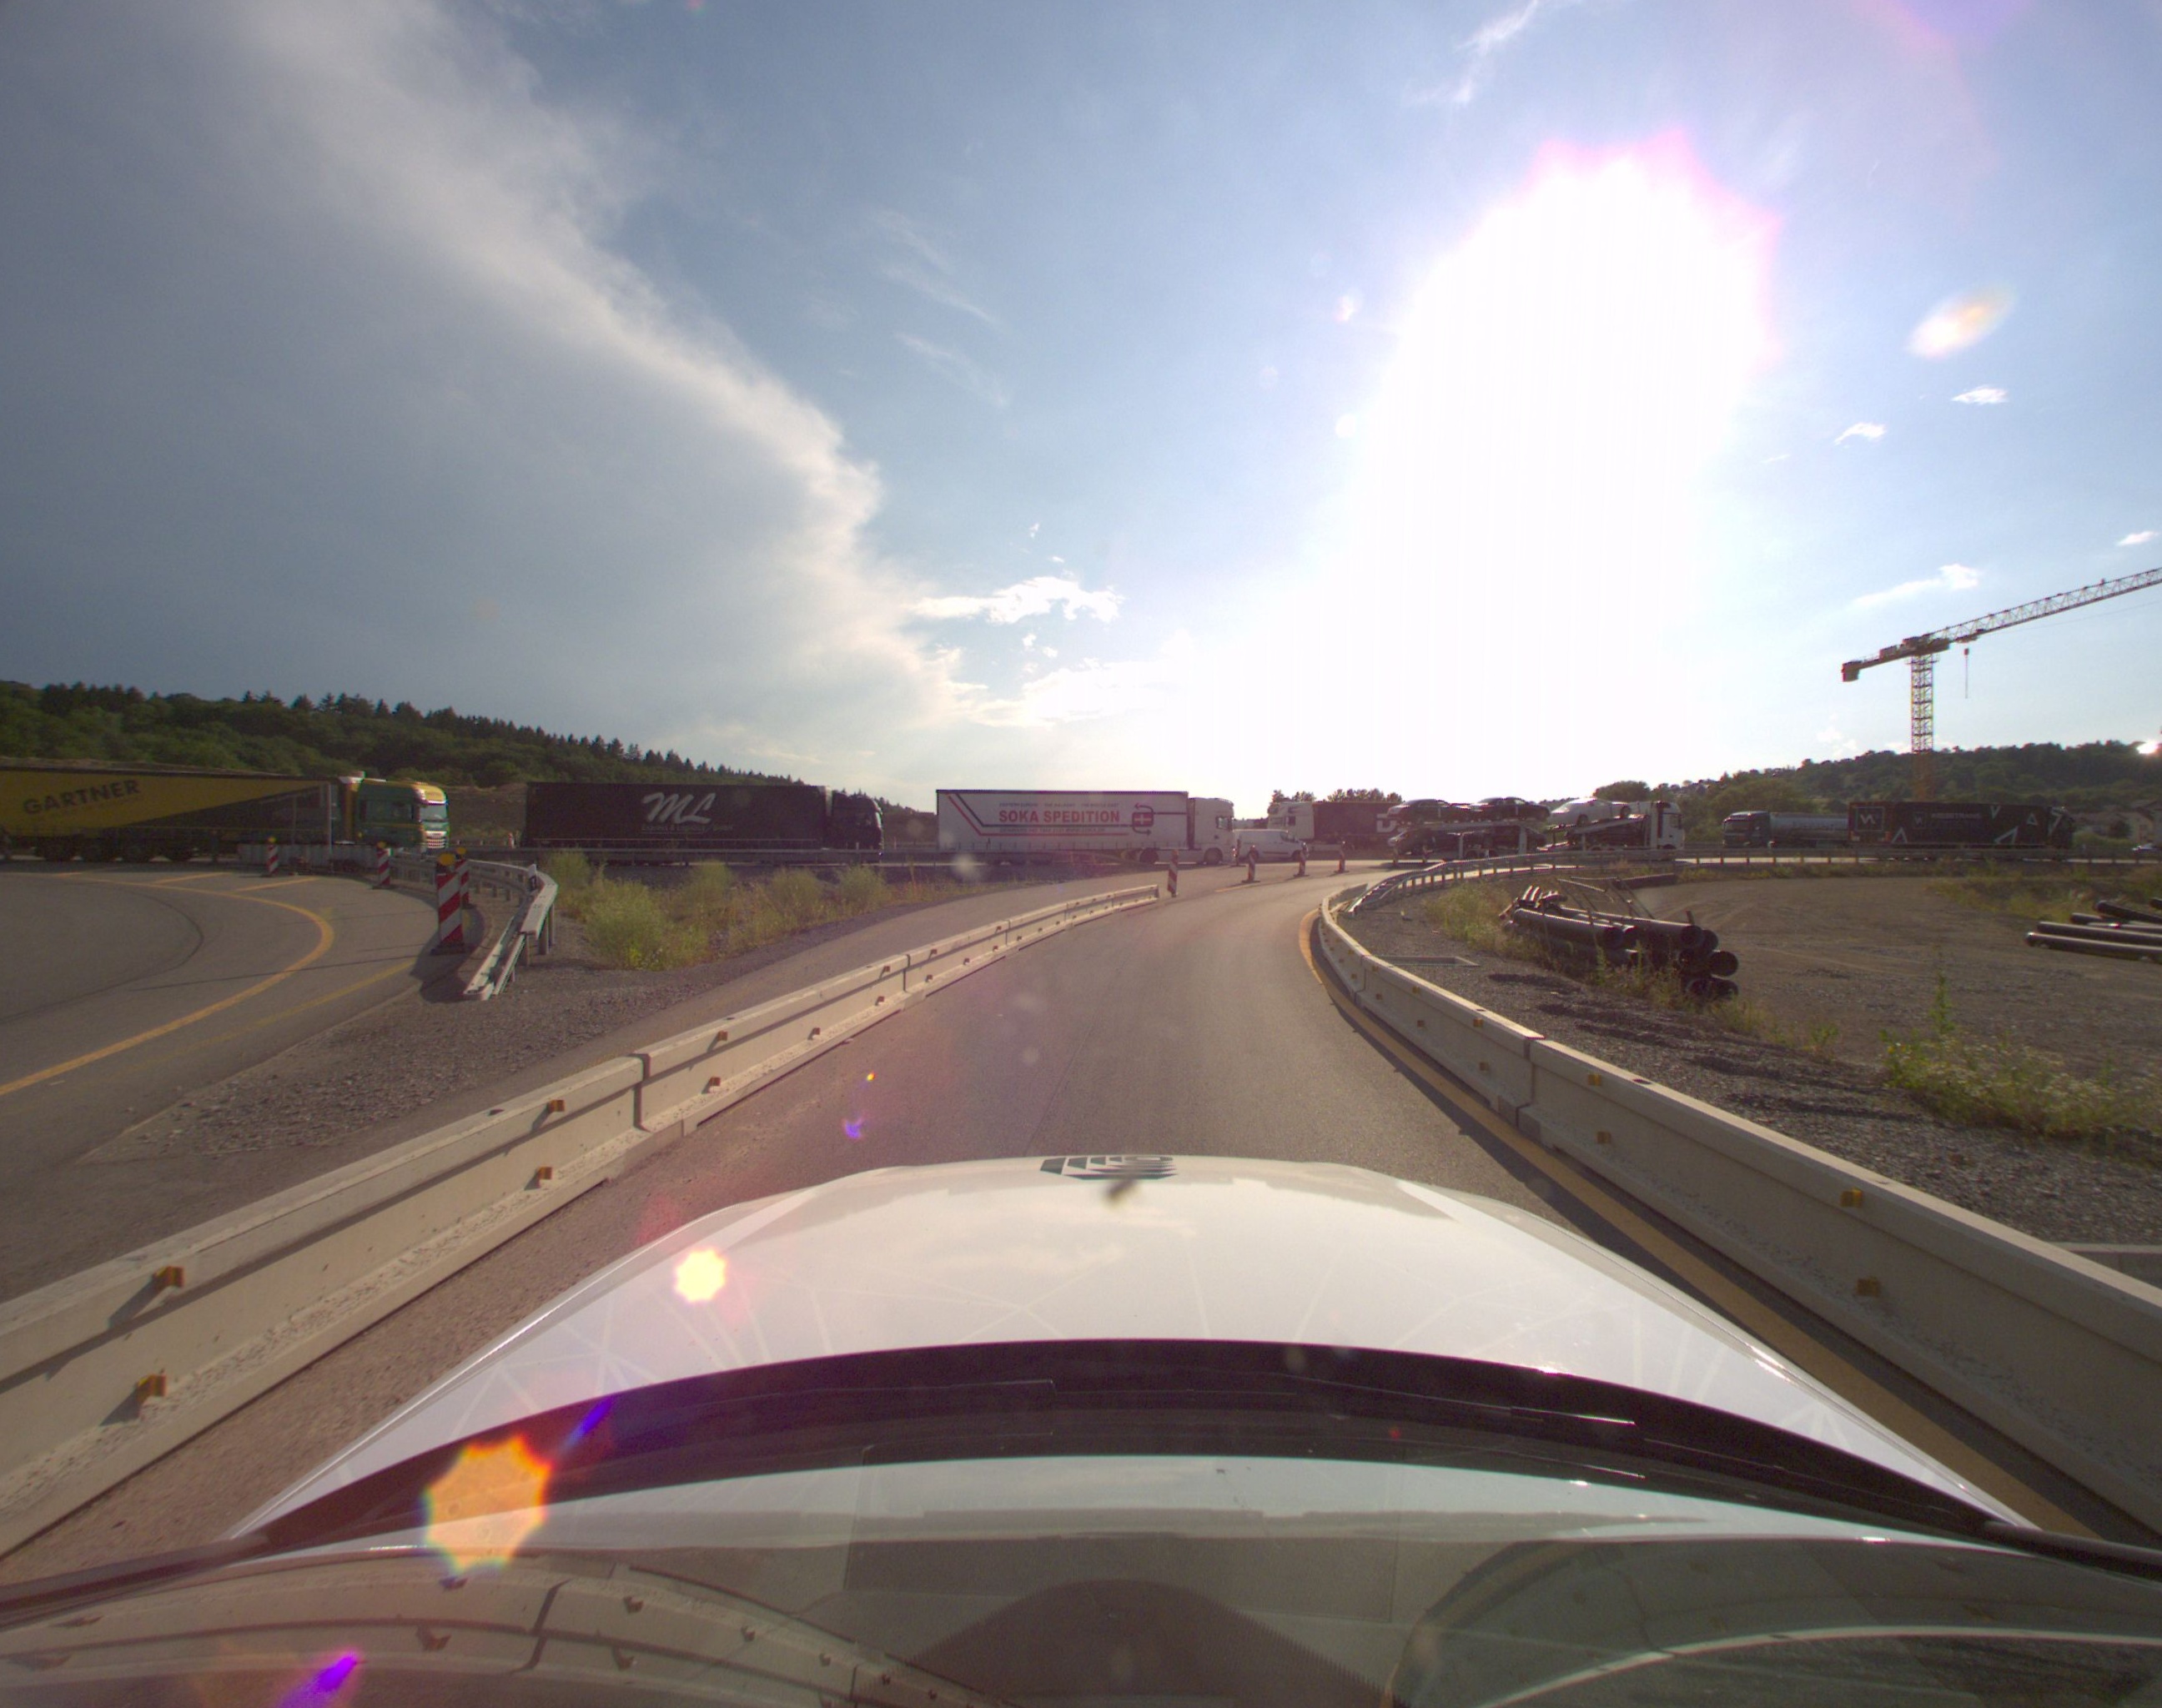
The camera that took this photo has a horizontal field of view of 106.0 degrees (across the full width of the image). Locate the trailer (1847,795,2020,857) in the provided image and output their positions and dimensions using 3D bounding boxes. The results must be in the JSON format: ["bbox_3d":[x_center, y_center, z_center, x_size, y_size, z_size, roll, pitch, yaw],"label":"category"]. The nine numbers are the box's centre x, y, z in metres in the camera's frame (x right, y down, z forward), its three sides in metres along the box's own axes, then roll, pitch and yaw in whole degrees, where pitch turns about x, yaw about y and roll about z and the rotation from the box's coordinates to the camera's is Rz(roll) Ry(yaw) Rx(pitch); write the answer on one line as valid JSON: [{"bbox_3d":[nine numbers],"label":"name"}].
[{"bbox_3d":[59.251,-1.849,56.657,10.759,4.092,2.958,0,0,-10],"label":"trailer"}]

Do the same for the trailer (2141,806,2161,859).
[{"bbox_3d":[89.084,-1.568,62.477,14.704,3.996,3.383,0,1,-12],"label":"trailer"}]

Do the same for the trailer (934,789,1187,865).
[{"bbox_3d":[-1.091,-1.393,44.502,13.594,3.878,2.479,0,1,-12],"label":"trailer"}]

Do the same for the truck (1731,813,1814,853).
[{"bbox_3d":[56.092,-1.634,66.106,5.672,3.134,2.139,0,-1,-12],"label":"truck"}]

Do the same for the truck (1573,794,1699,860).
[{"bbox_3d":[35.363,-1.683,51.968,6.606,3.996,2.847,0,1,-12],"label":"truck"}]

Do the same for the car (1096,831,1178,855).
[{"bbox_3d":[3.583,-0.721,52.709,4.964,1.500,2.029,0,3,-11],"label":"car"}]

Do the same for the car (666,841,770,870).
[{"bbox_3d":[-20.401,0.055,46.004,4.964,1.500,2.029,0,3,-11],"label":"car"}]

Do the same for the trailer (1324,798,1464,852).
[{"bbox_3d":[22.997,-2.062,59.992,9.540,3.752,3.006,0,-1,-10],"label":"trailer"}]

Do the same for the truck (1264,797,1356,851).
[{"bbox_3d":[16.451,-2.108,58.751,5.671,3.727,2.995,0,-1,-11],"label":"truck"}]

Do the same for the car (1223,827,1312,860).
[{"bbox_3d":[11.556,-0.697,50.599,4.964,1.980,2.029,0,2,-11],"label":"car"}]

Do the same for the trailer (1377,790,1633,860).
[{"bbox_3d":[26.127,-1.691,50.105,15.702,3.996,2.856,0,1,-12],"label":"trailer"}]

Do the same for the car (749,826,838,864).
[{"bbox_3d":[-15.418,-0.454,43.805,4.320,2.014,1.520,0,-1,-12],"label":"car"}]

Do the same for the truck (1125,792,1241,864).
[{"bbox_3d":[5.718,-1.405,45.965,5.995,3.878,2.479,0,1,-12],"label":"truck"}]

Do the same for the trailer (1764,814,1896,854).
[{"bbox_3d":[61.971,-1.613,67.365,10.954,3.134,2.138,0,-1,-13],"label":"trailer"}]

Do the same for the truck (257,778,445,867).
[{"bbox_3d":[-33.566,-1.411,37.683,5.994,3.901,2.479,0,1,-11],"label":"truck"}]

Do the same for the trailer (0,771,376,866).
[{"bbox_3d":[-40.308,-1.508,36.319,13.935,3.958,2.479,0,1,-11],"label":"trailer"}]

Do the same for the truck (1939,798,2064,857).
[{"bbox_3d":[65.238,-1.831,57.761,6.603,3.996,2.885,0,1,-10],"label":"truck"}]

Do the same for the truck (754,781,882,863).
[{"bbox_3d":[-13.415,-1.587,41.973,5.996,4.060,2.478,0,1,-12],"label":"truck"}]

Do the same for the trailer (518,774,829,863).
[{"bbox_3d":[-19.740,-1.649,40.499,13.600,4.061,2.478,0,1,-13],"label":"trailer"}]
